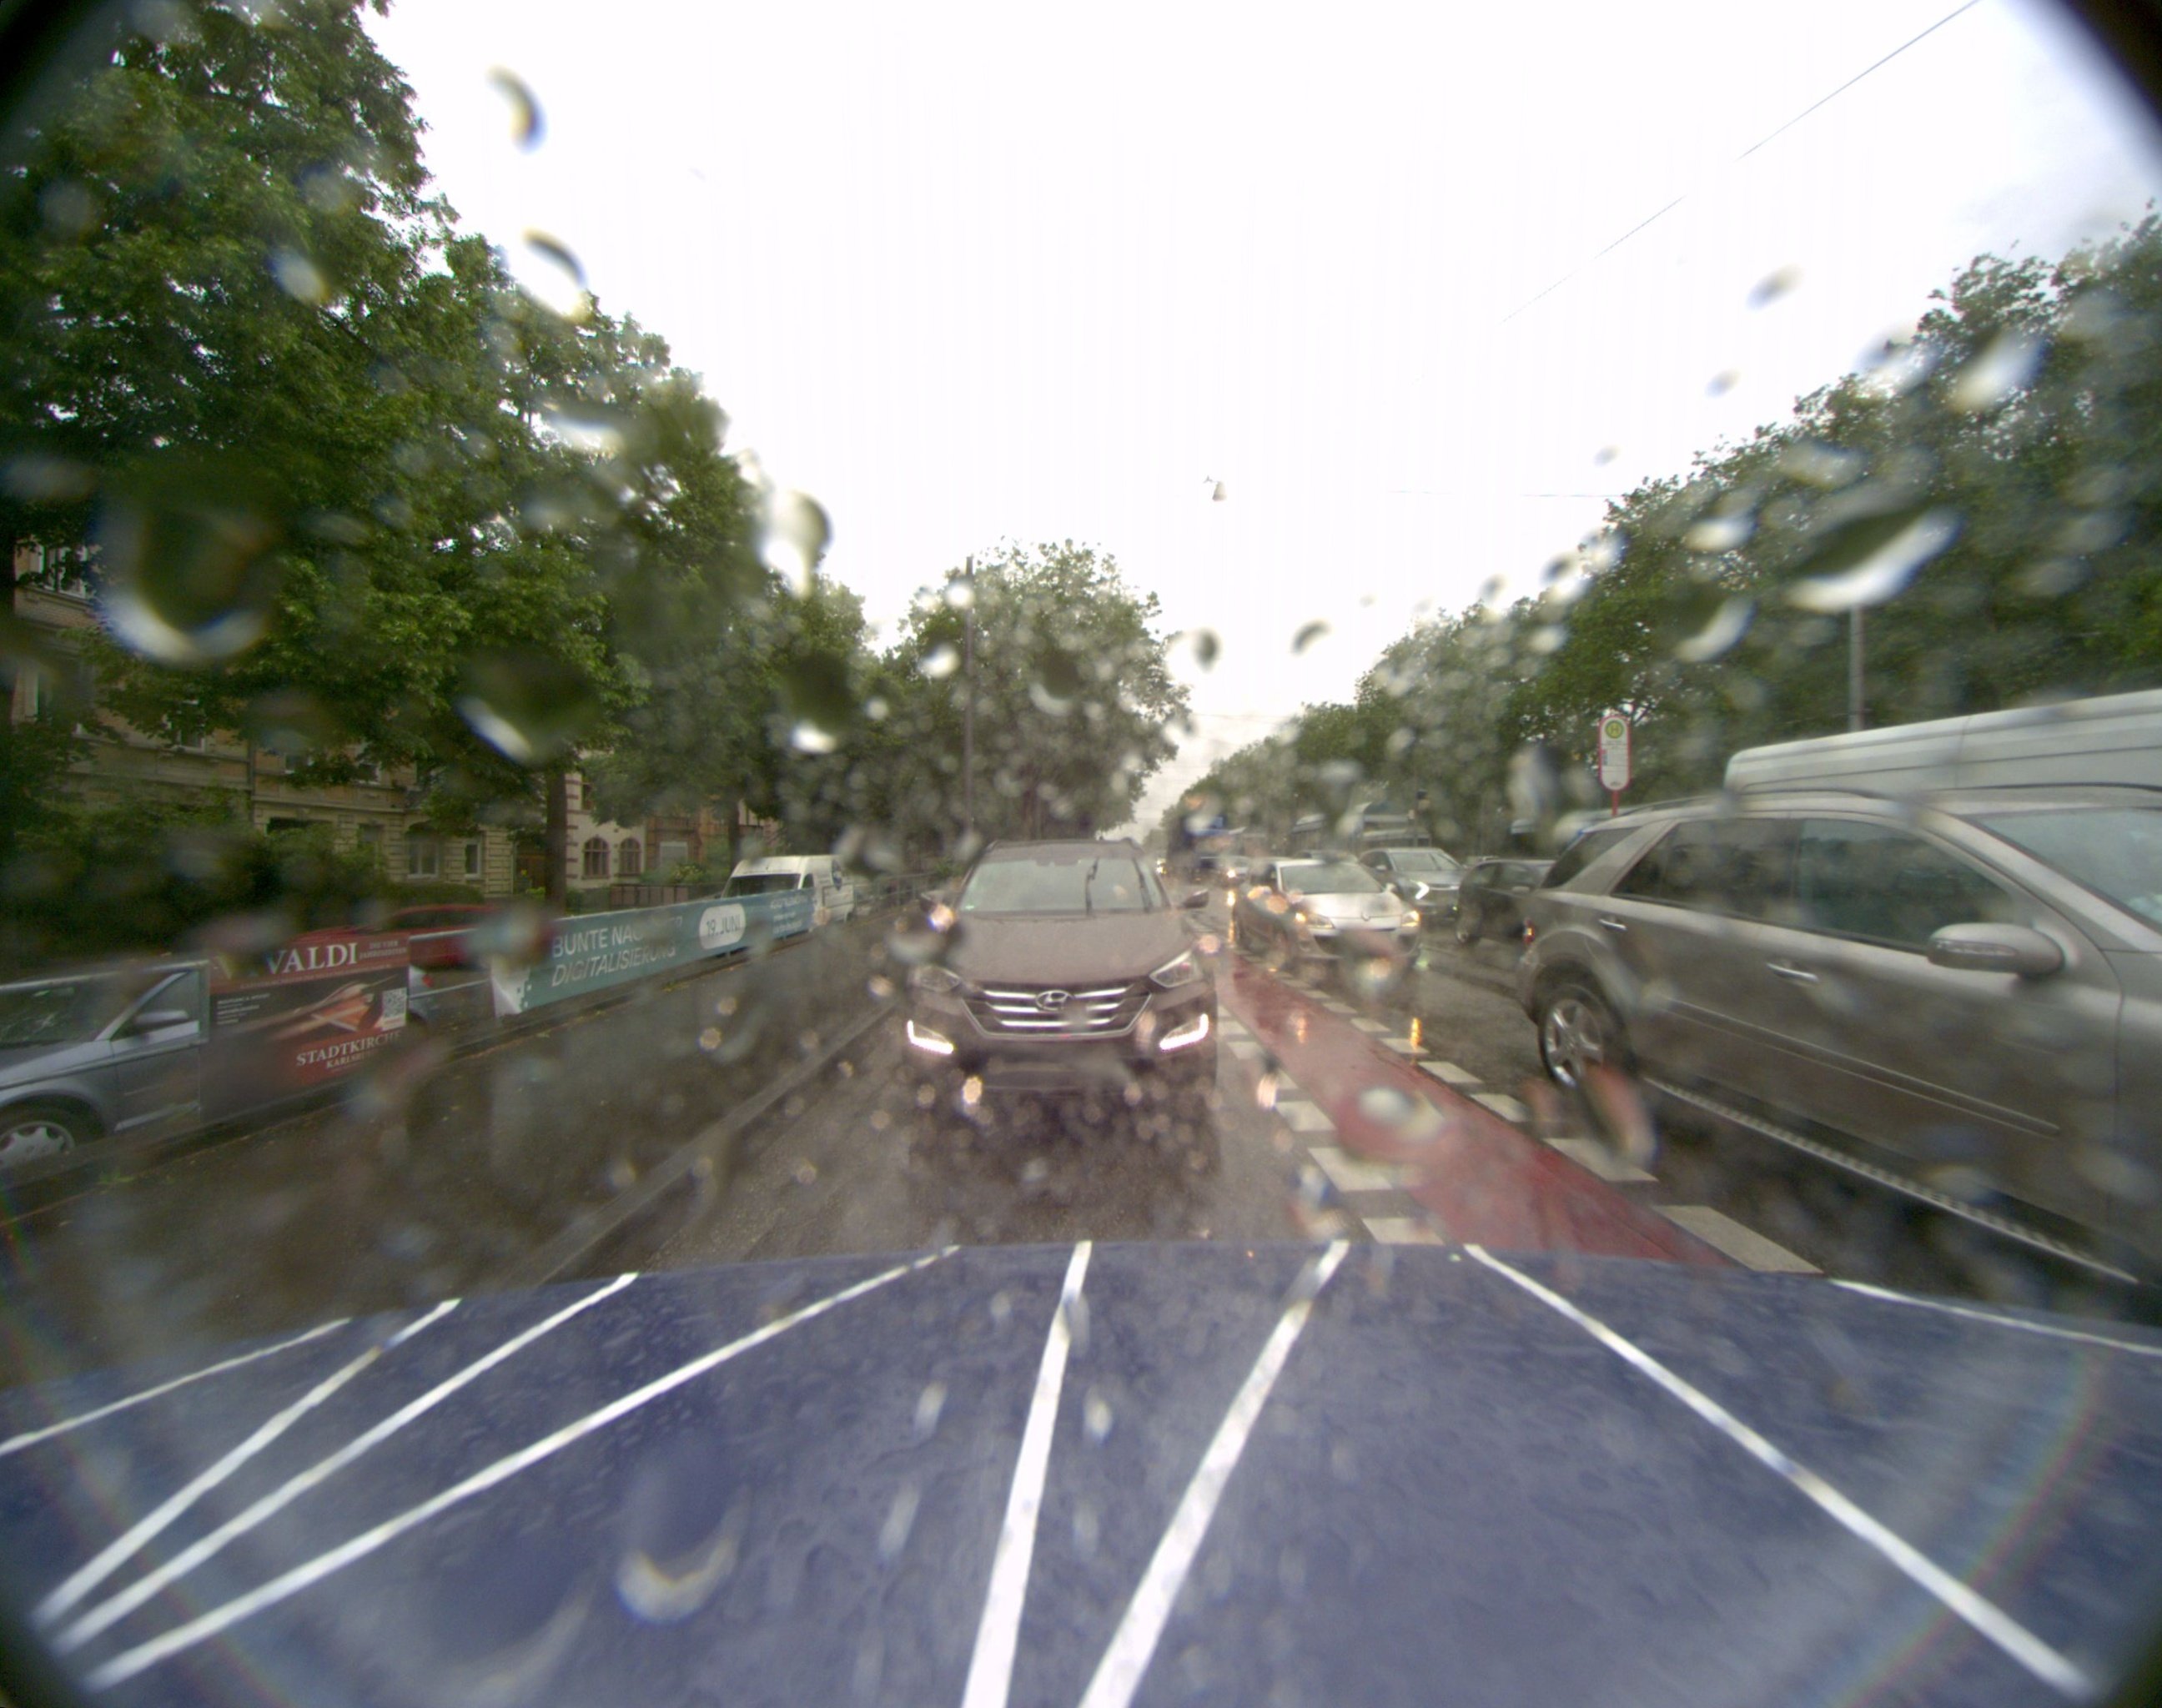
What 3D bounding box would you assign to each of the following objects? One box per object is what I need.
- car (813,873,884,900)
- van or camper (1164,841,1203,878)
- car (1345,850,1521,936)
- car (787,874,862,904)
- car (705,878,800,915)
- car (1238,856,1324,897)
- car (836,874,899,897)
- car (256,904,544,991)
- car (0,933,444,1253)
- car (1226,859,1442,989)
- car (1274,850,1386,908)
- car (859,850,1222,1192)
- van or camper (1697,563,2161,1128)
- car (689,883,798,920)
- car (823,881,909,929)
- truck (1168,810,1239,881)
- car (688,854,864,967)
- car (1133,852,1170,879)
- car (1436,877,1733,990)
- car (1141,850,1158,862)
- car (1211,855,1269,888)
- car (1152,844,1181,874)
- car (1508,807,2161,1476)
[{"bbox_3d":[-15.366,2.126,50.313,4.007,1.557,1.995,-2,1,-34],"label":"car"},{"bbox_3d":[7.632,0.388,57.108,1.998,2.555,6.431,-2,0,0],"label":"van or camper"},{"bbox_3d":[7.449,0.733,16.639,1.919,1.614,4.454,0,0,2],"label":"car"},{"bbox_3d":[-15.725,2.125,46.660,4.006,1.599,1.821,-2,1,-31],"label":"car"},{"bbox_3d":[-15.530,1.990,35.996,4.005,1.496,1.655,-1,1,-24],"label":"car"},{"bbox_3d":[7.523,0.794,29.056,1.999,1.386,4.606,0,0,-1],"label":"car"},{"bbox_3d":[-15.542,2.243,55.352,4.007,1.455,1.908,-2,1,-34],"label":"car"},{"bbox_3d":[-14.629,1.942,16.735,4.439,1.444,1.894,0,-1,-32],"label":"car"},{"bbox_3d":[-7.237,1.594,5.536,1.736,1.530,4.074,-2,0,-1],"label":"car"},{"bbox_3d":[3.420,0.850,11.102,1.772,1.469,4.000,-2,0,0],"label":"car"},{"bbox_3d":[7.565,0.691,23.578,1.999,1.611,4.319,-1,0,-1],"label":"car"},{"bbox_3d":[-0.136,0.824,5.597,1.756,1.657,3.678,-2,0,2],"label":"car"},{"bbox_3d":[7.058,-0.051,4.397,2.164,3.123,5.850,0,0,-1],"label":"van or camper"},{"bbox_3d":[-14.862,2.054,33.496,4.269,1.372,1.687,-1,1,-27],"label":"car"},{"bbox_3d":[-7.625,1.764,27.337,1.972,1.345,4.383,-3,0,-3],"label":"car"},{"bbox_3d":[7.240,-0.481,46.393,2.545,3.866,9.810,1,0,-1],"label":"truck"},{"bbox_3d":[-7.707,1.262,20.091,2.214,2.406,6.157,-2,0,-2],"label":"car"},{"bbox_3d":[4.359,0.704,47.651,1.899,1.569,3.999,0,0,0],"label":"car"},{"bbox_3d":[6.741,0.969,10.764,1.467,1.111,4.087,-2,0,0],"label":"car"},{"bbox_3d":[7.350,0.167,81.769,1.467,1.185,3.615,-2,0,0],"label":"car"},{"bbox_3d":[7.580,0.795,36.559,1.895,1.478,4.077,-1,0,-1],"label":"car"},{"bbox_3d":[7.354,0.391,65.749,1.998,2.412,5.727,-2,0,3],"label":"car"},{"bbox_3d":[3.831,0.725,2.747,2.030,1.760,4.462,-2,0,0],"label":"car"}]
